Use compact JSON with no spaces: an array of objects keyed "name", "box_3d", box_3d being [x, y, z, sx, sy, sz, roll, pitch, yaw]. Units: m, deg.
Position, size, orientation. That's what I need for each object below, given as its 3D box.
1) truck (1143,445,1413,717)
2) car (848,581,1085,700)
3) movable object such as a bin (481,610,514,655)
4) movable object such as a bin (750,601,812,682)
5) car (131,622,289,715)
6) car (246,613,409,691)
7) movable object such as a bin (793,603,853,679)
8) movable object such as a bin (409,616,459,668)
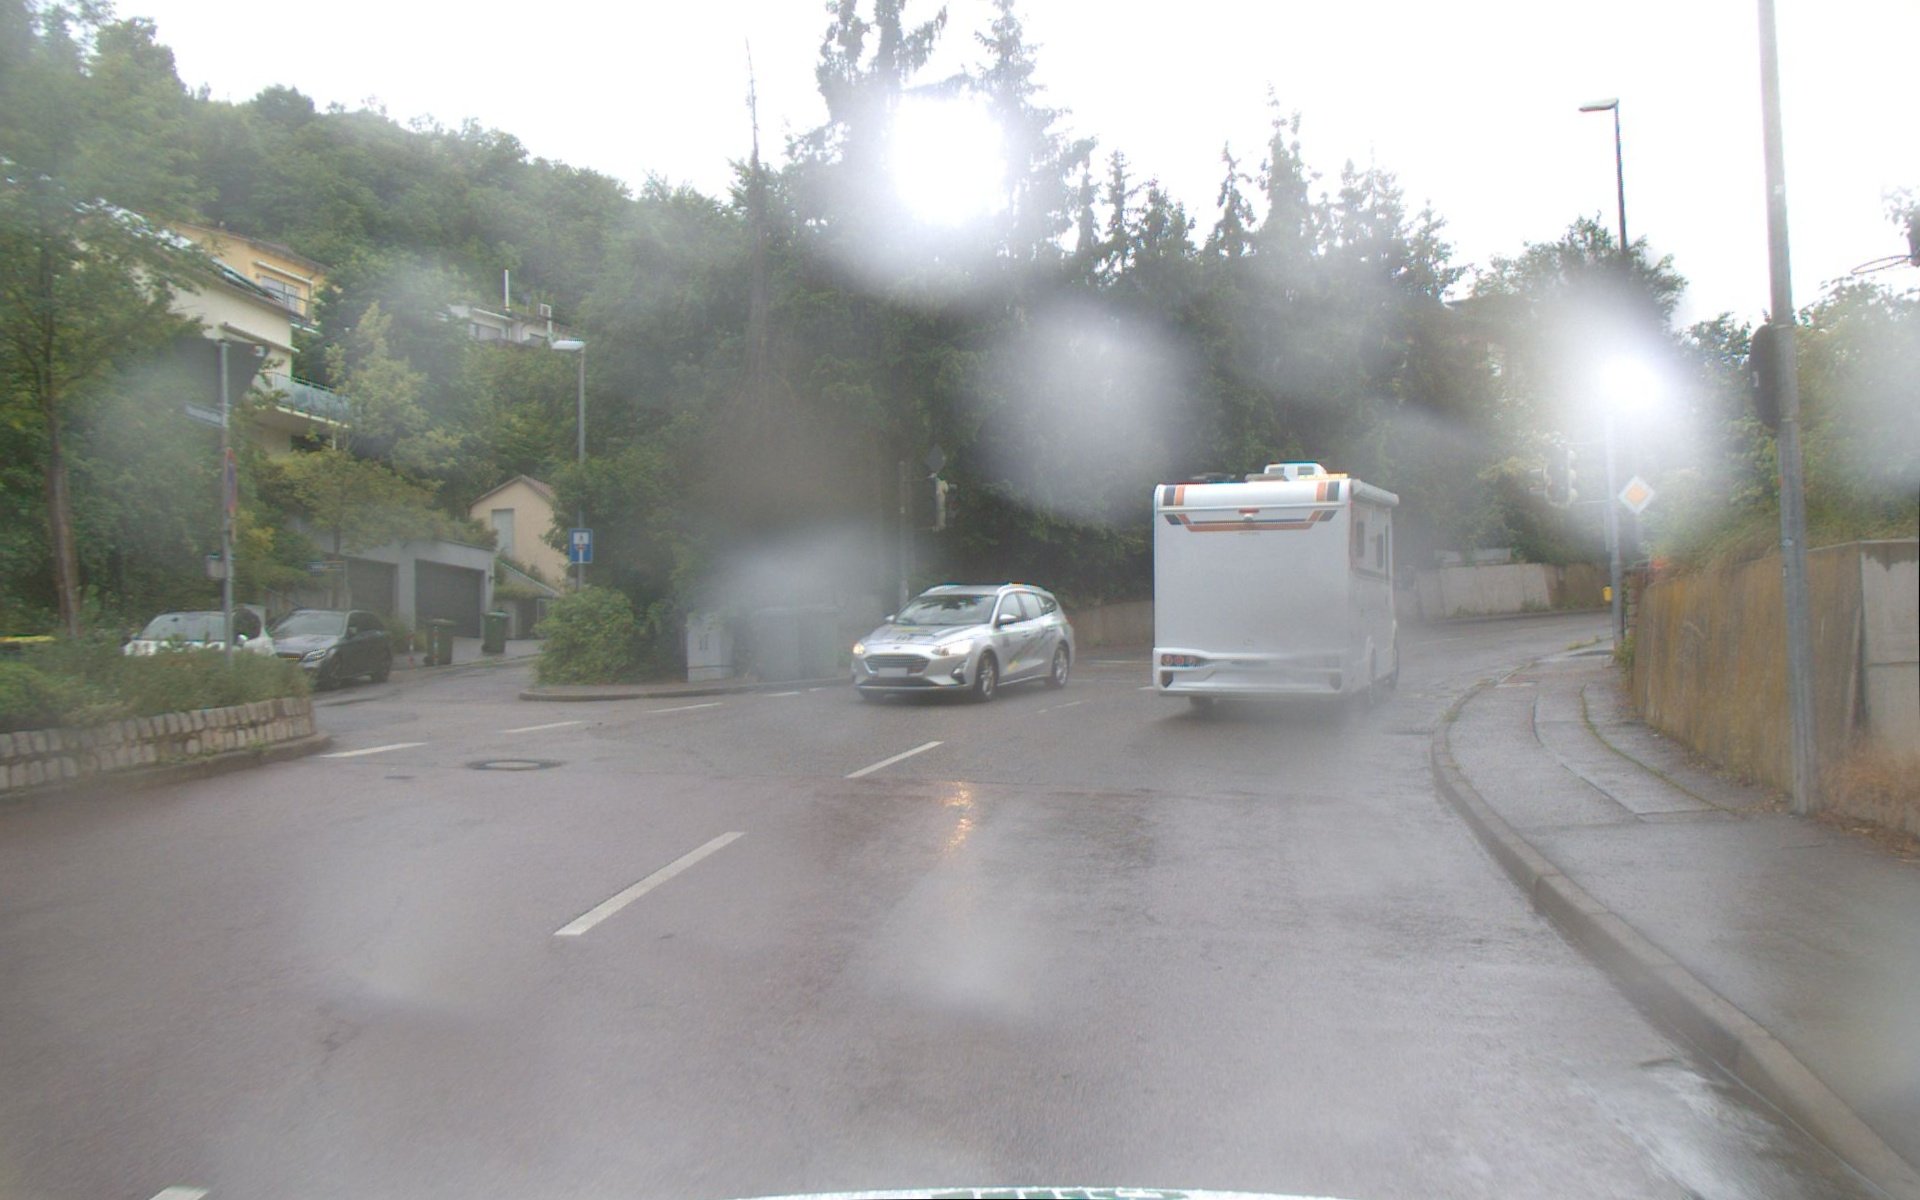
[{"name":"truck","box_3d":[4.199,-0.193,20.770,2.463,2.867,6.203,0,0,19]},{"name":"car","box_3d":[0.203,0.480,22.338,1.563,1.438,4.234,0,0,25]},{"name":"movable object such as a bin","box_3d":[-12.957,0.915,46.354,0.690,1.244,0.591,0,0,8]},{"name":"movable object such as a bin","box_3d":[-2.628,0.605,24.244,0.663,1.159,0.616,1,0,-43]},{"name":"car","box_3d":[-12.137,1.060,26.967,1.516,1.354,3.736,1,0,-12]},{"name":"car","box_3d":[-12.245,0.959,32.311,1.565,1.384,4.446,0,0,-2]},{"name":"movable object such as a bin","box_3d":[-2.045,0.603,24.662,0.700,1.107,0.552,1,0,-43]},{"name":"movable object such as a bin","box_3d":[-12.626,0.997,39.696,0.834,1.219,0.933,0,0,5]}]
